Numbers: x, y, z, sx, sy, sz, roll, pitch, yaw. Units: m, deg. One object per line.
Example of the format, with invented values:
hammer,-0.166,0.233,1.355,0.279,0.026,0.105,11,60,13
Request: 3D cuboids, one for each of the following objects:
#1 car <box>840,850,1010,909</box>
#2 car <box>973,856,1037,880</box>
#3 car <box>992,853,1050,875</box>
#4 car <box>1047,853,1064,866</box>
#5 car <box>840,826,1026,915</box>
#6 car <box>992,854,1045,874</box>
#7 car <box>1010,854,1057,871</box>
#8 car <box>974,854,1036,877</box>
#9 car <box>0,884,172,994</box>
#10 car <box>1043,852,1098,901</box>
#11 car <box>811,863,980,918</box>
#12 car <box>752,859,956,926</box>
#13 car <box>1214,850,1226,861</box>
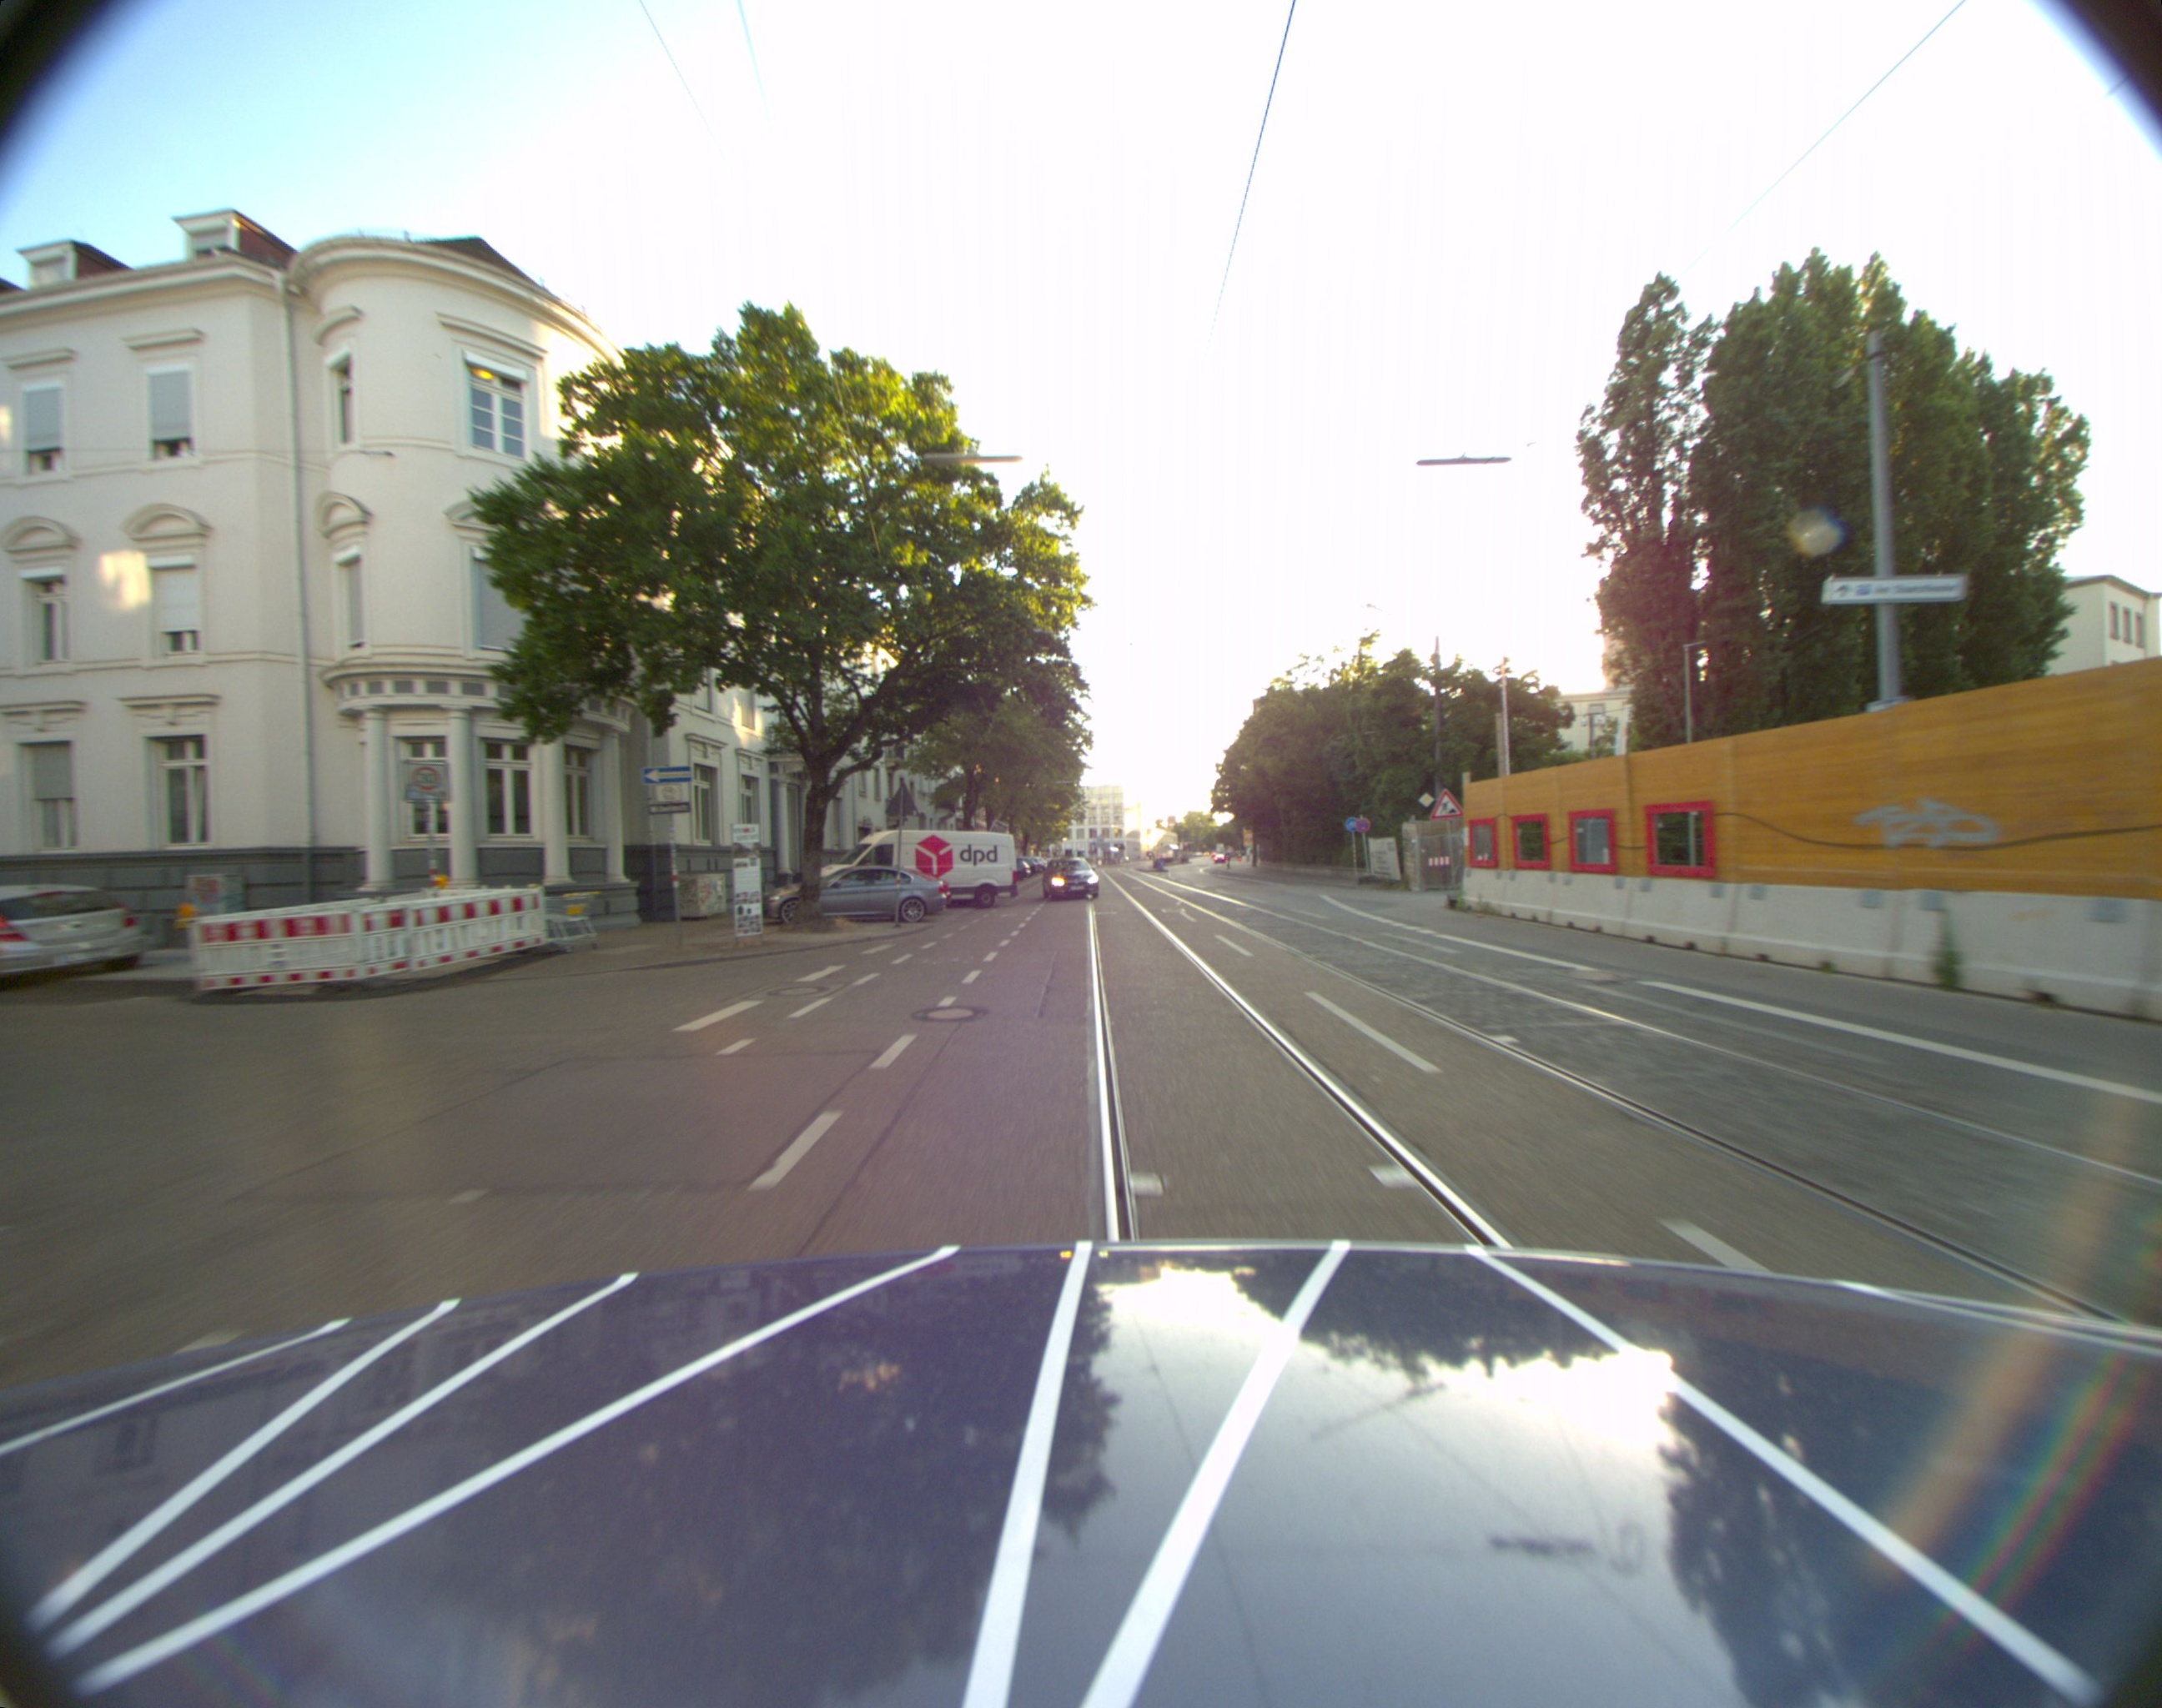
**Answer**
car,-5.617,0.865,27.713,5.650,1.884,2.166,-1,0,-34
car,-5.296,0.967,52.878,4.214,1.494,1.741,-1,0,-16
car,-4.713,0.811,59.969,4.217,1.600,1.699,-1,0,-28
car,-3.316,0.736,100.839,1.741,1.600,3.823,-1,0,5
car,-4.862,0.464,25.405,5.650,2.678,2.166,-1,0,-34
car,-5.399,0.872,65.744,4.217,1.600,1.740,-1,0,-28
car,-4.615,0.832,74.154,4.217,1.600,1.739,-1,0,-28
car,-5.567,0.829,55.303,4.214,1.494,1.741,-1,0,-16
car,-17.063,1.281,11.831,3.893,1.482,1.855,-1,0,7
car,-0.327,0.818,29.320,1.840,1.631,4.169,-5,0,1
car,-5.380,1.003,22.093,4.413,1.436,1.983,0,0,-28
car,-5.636,0.913,18.967,4.614,1.504,1.859,1,-1,-26
car,24.102,0.256,131.915,1.997,1.674,4.003,-1,0,10
